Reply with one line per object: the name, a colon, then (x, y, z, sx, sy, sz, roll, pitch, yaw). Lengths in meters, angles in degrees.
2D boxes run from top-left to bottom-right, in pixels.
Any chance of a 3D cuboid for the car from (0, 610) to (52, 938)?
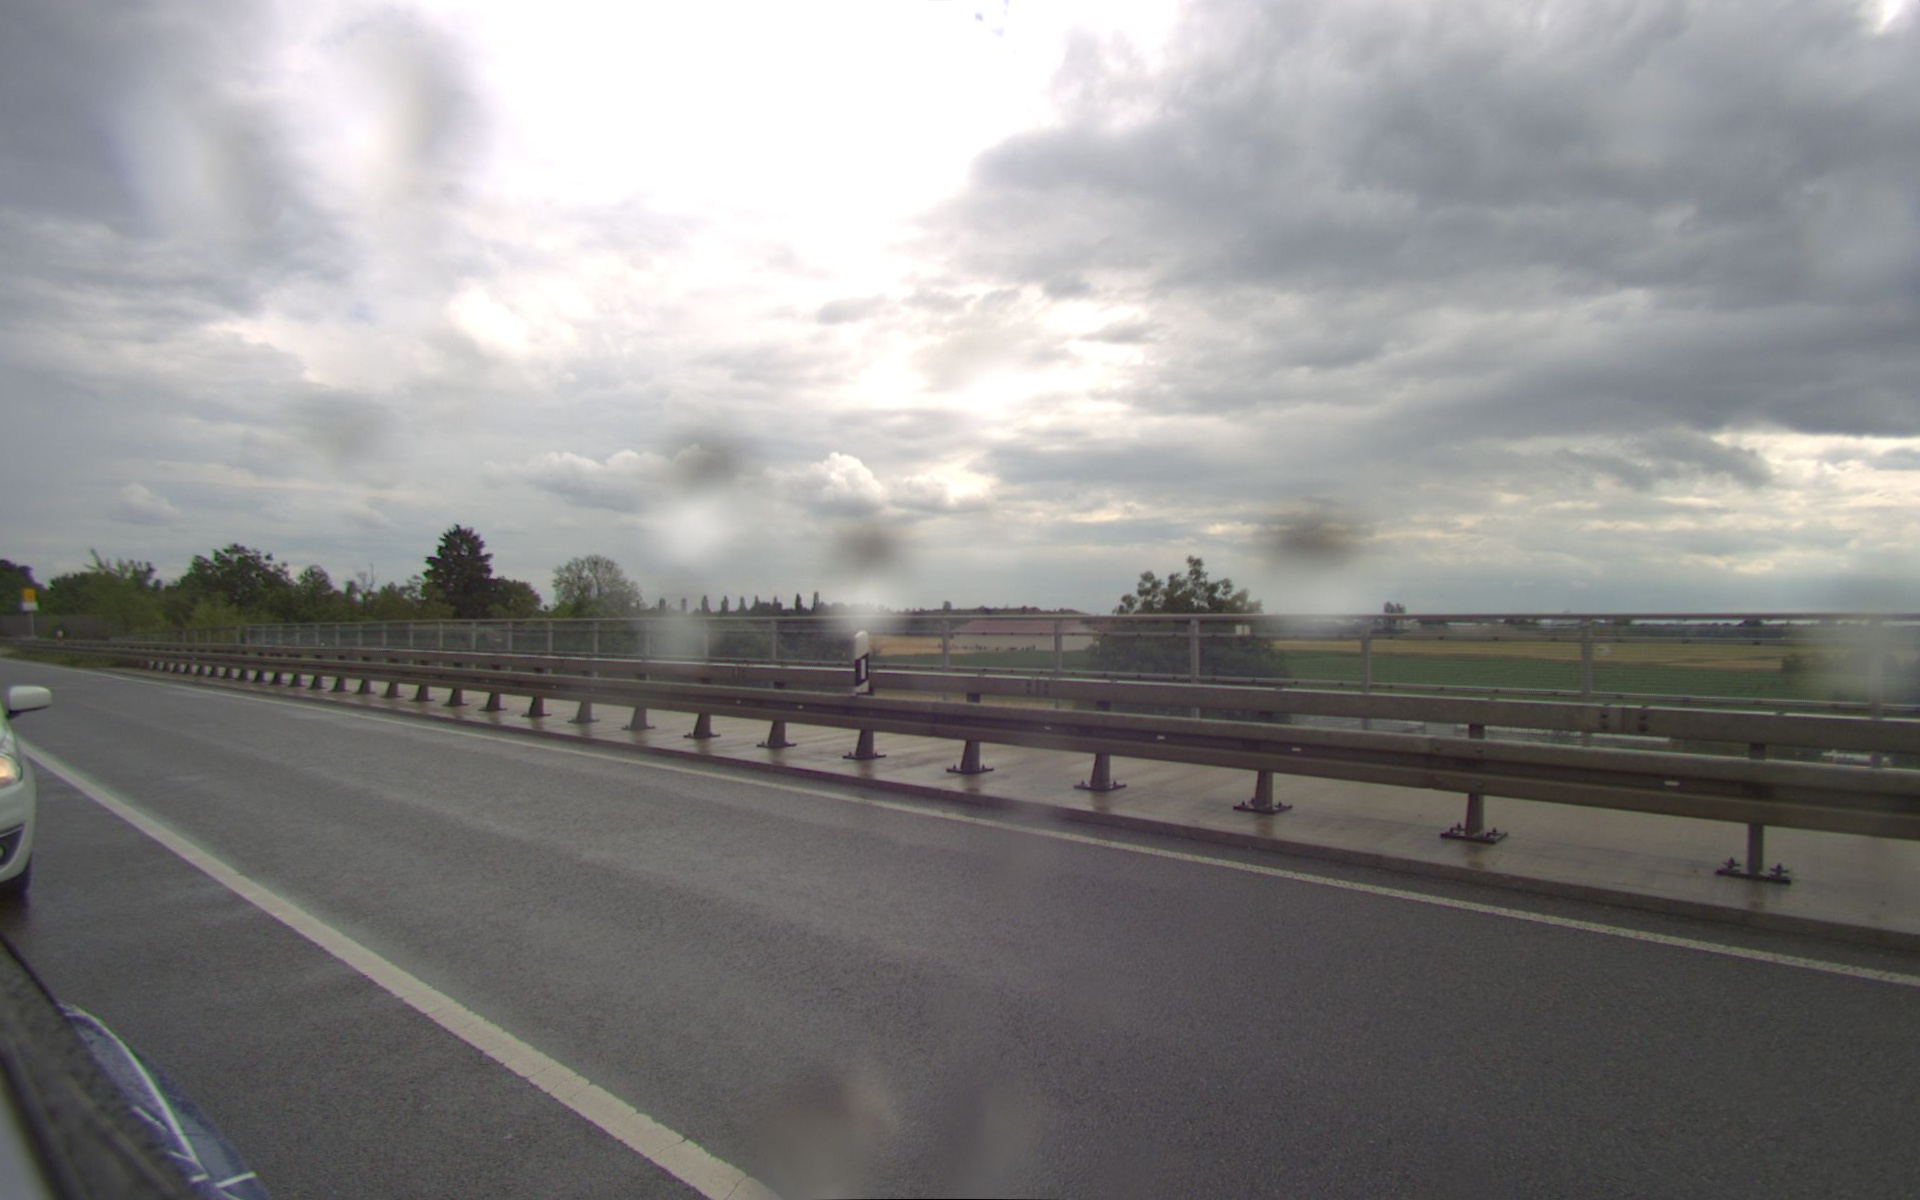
car: (-6.368, 0.829, 5.494, 4.127, 1.496, 1.653, -1, 0, 41)
